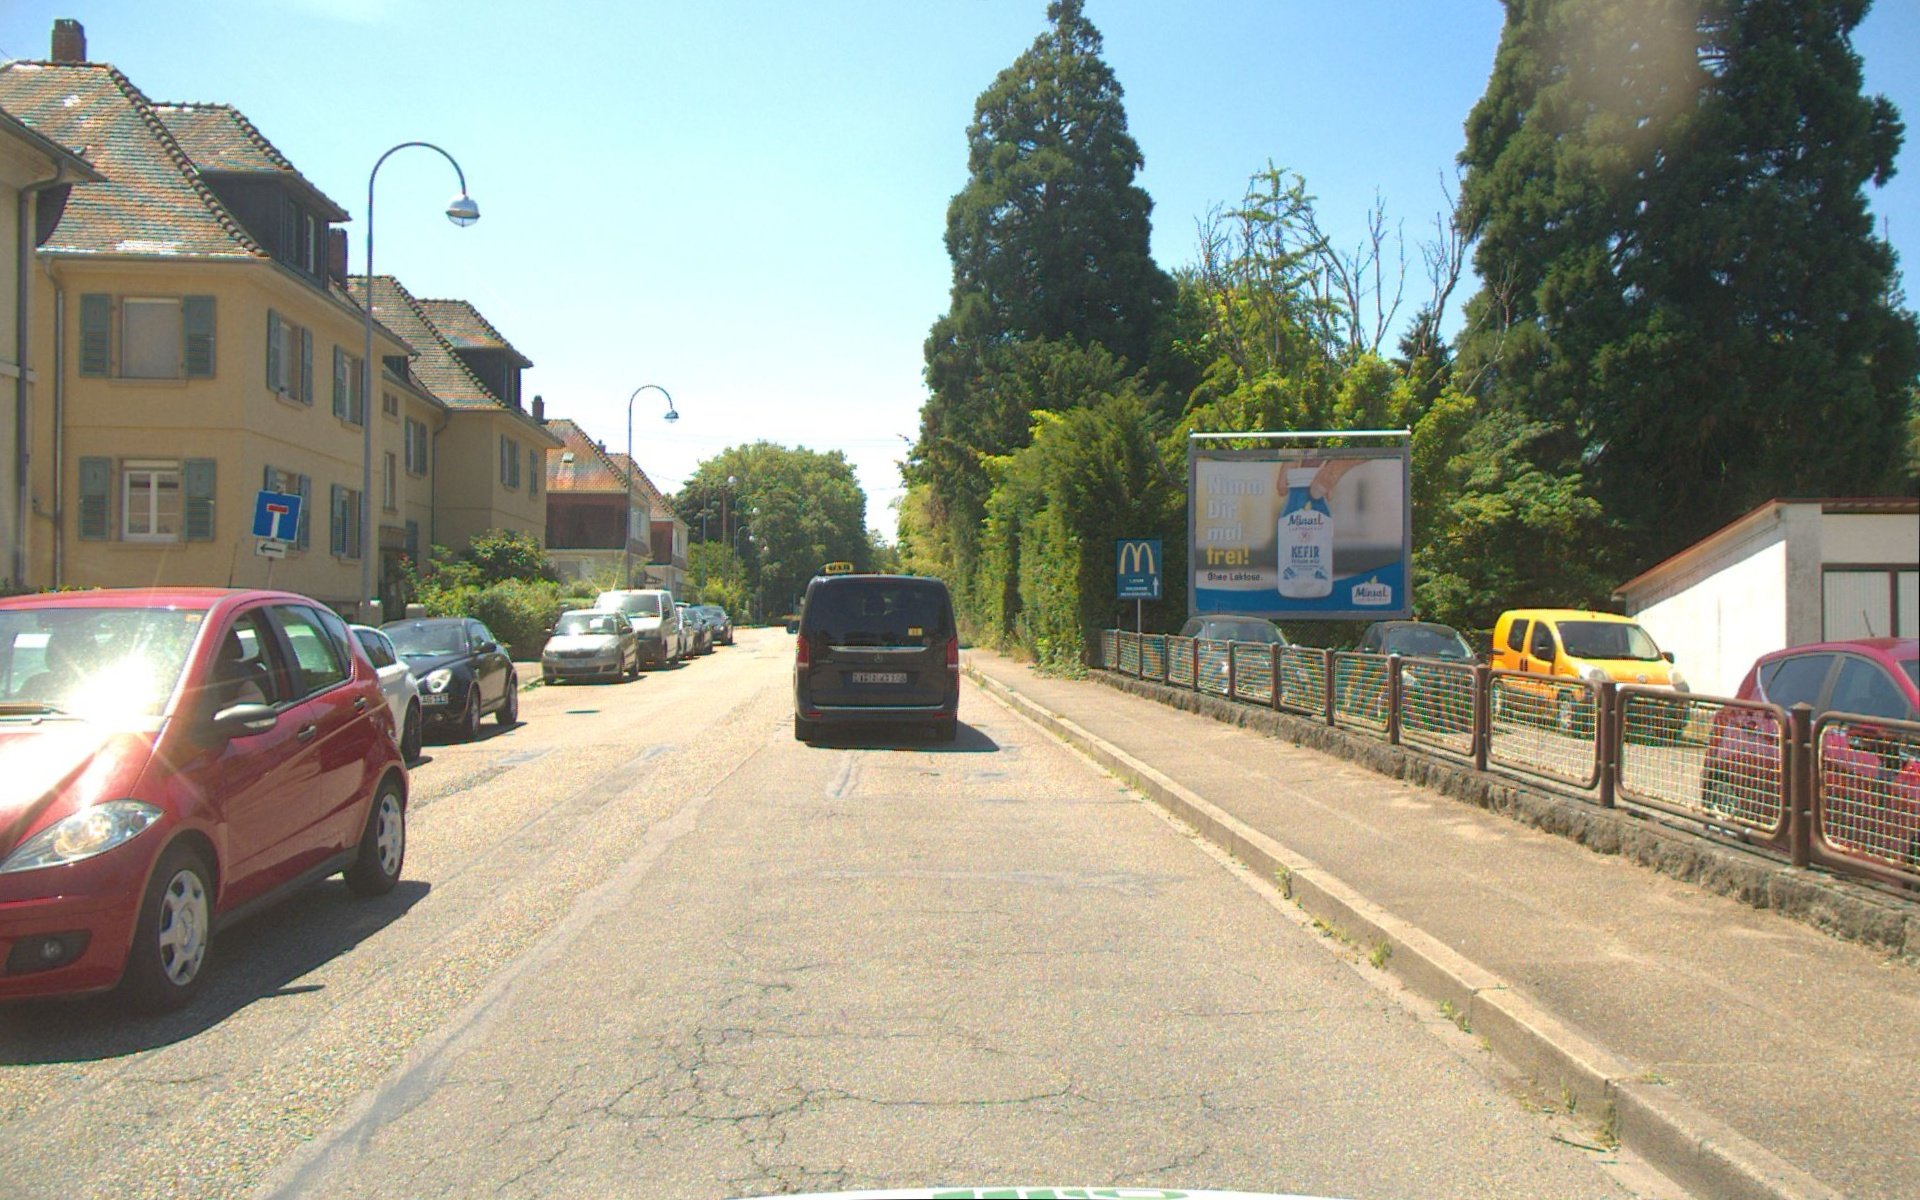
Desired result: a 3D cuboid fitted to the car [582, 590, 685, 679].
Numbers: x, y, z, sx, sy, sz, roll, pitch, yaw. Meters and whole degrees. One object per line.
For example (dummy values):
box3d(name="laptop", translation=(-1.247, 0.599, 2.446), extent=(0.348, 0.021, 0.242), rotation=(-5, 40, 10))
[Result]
box3d(name="car", translation=(-8.049, 0.817, 41.131), extent=(1.841, 1.997, 4.622), rotation=(-2, 0, -4))

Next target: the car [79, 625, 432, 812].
box3d(name="car", translation=(-6.358, 0.986, 15.471), extent=(1.759, 1.426, 4.214), rotation=(-2, -1, -5))

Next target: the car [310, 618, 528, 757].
box3d(name="car", translation=(-6.689, 1.020, 20.878), extent=(1.682, 1.511, 4.072), rotation=(-2, -1, -5))

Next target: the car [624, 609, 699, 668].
box3d(name="car", translation=(-8.395, 1.049, 46.729), extent=(1.633, 1.518, 3.475), rotation=(-2, 0, -4))

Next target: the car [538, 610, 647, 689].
box3d(name="car", translation=(-7.727, 1.000, 35.077), extent=(1.653, 1.552, 4.059), rotation=(0, 0, -4))

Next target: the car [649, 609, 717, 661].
box3d(name="car", translation=(-8.562, 1.047, 51.432), extent=(1.633, 1.519, 4.462), rotation=(0, 0, -4))

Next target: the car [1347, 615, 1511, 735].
box3d(name="car", translation=(6.968, 1.082, 24.865), extent=(1.597, 1.570, 3.393), rotation=(4, -1, 3))

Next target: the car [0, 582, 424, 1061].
box3d(name="car", translation=(-3.801, 0.773, 7.359), extent=(1.778, 1.593, 3.694), rotation=(-1, 0, -3))

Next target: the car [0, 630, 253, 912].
box3d(name="car", translation=(-6.153, 0.975, 10.675), extent=(1.725, 1.473, 3.920), rotation=(-2, -1, -5))

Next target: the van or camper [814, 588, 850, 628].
box3d(name="van or camper", translation=(-8.756, 0.557, 112.791), extent=(2.219, 2.572, 4.753), rotation=(-1, -1, -6))

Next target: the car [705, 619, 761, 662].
box3d(name="car", translation=(-8.309, 1.465, 60.853), extent=(1.633, 1.410, 4.377), rotation=(-2, 0, -3))

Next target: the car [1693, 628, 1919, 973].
box3d(name="car", translation=(5.278, 0.934, 8.362), extent=(1.675, 1.550, 3.841), rotation=(0, -1, 4))

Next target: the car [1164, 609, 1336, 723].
box3d(name="car", translation=(4.275, 0.938, 24.886), extent=(1.600, 1.484, 3.552), rotation=(4, -1, -5))

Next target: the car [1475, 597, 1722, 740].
box3d(name="car", translation=(9.325, 0.954, 24.525), extent=(1.740, 1.831, 4.162), rotation=(4, -1, -4))

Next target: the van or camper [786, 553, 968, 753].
box3d(name="van or camper", translation=(-1.016, 0.577, 19.842), extent=(1.865, 2.049, 5.266), rotation=(1, -1, -4))
